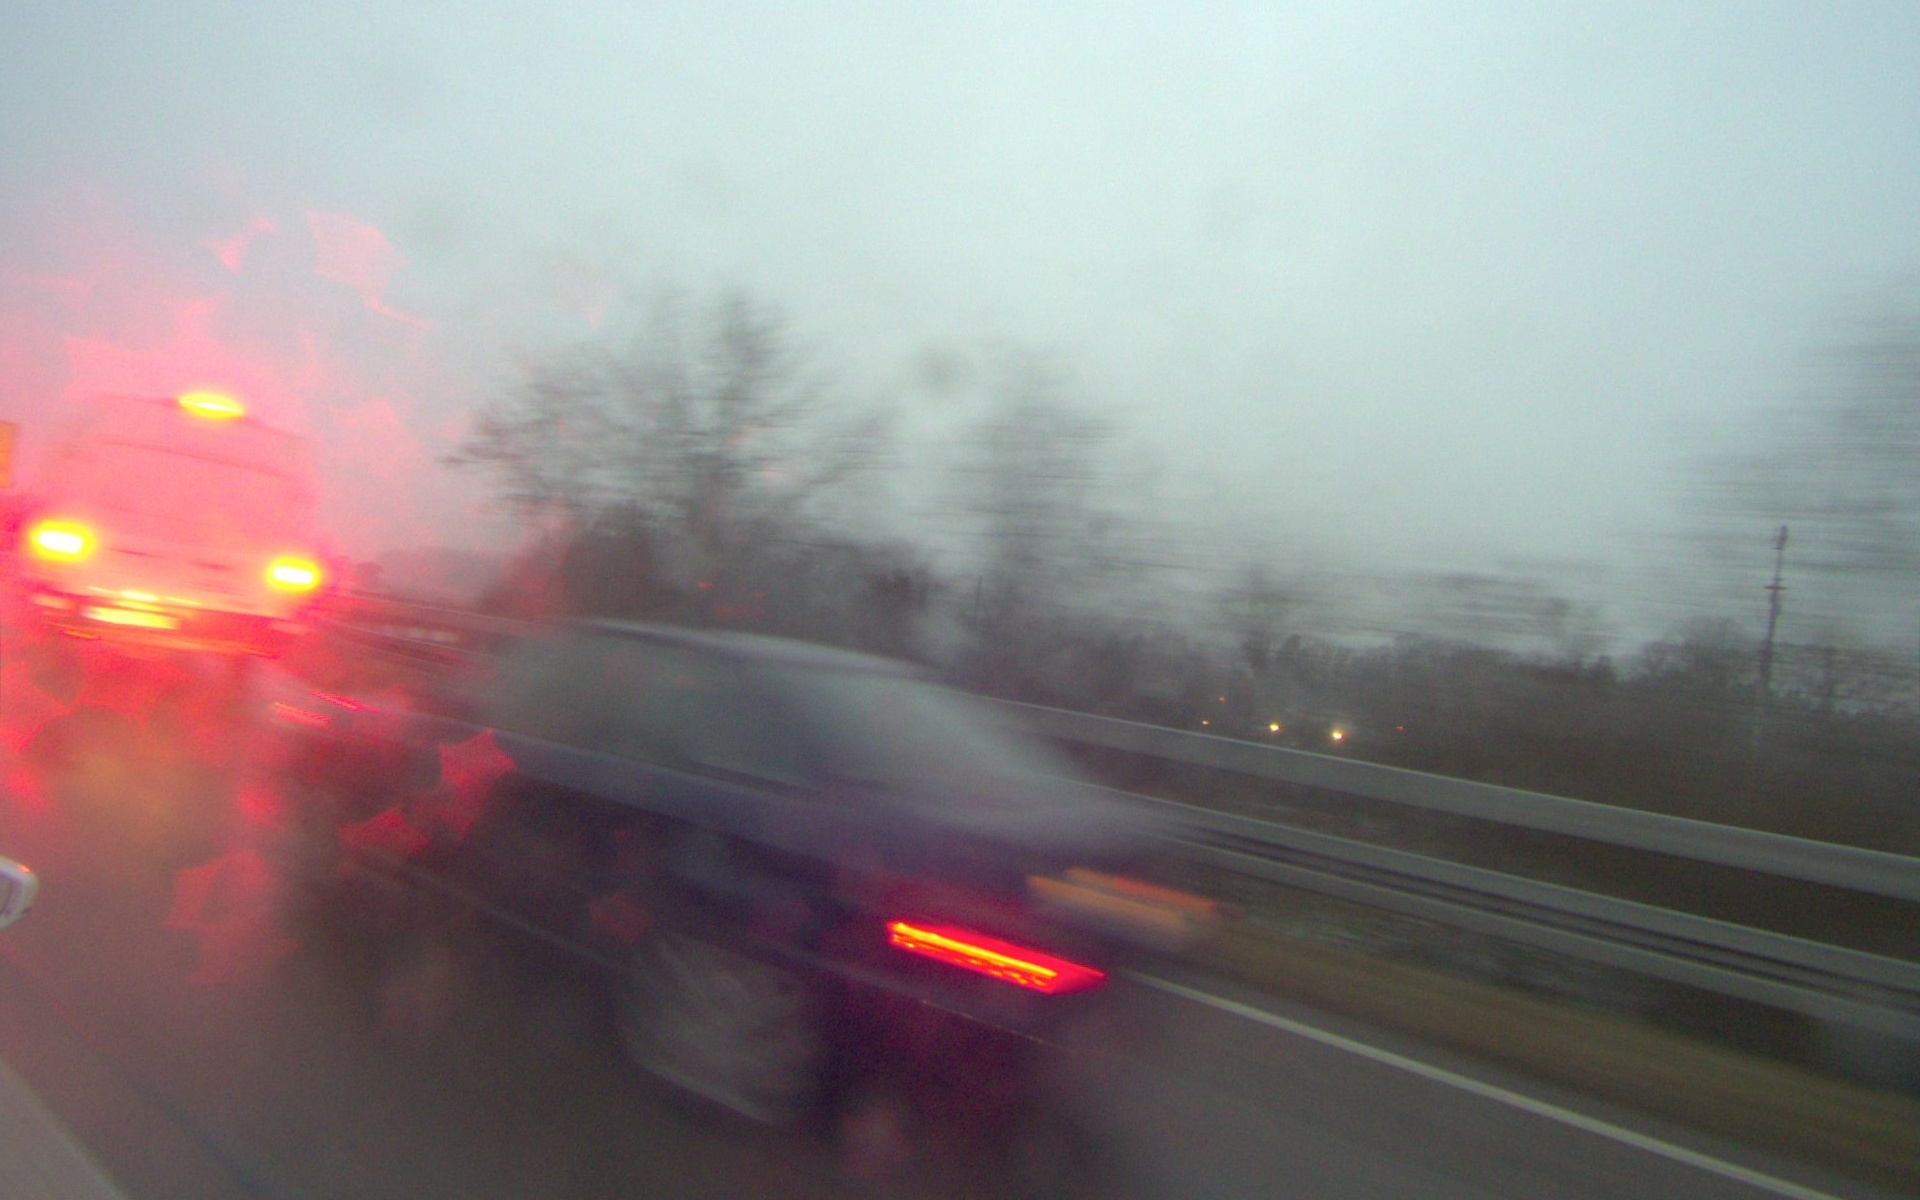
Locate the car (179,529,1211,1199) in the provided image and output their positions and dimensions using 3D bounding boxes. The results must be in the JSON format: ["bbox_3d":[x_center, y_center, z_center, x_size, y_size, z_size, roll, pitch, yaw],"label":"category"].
[{"bbox_3d":[-1.378,0.700,4.324,4.307,1.430,1.740,7,-3,34],"label":"car"}]

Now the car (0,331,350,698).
[{"bbox_3d":[-9.353,-0.828,11.556,6.310,2.999,2.278,5,-3,45],"label":"car"}]
